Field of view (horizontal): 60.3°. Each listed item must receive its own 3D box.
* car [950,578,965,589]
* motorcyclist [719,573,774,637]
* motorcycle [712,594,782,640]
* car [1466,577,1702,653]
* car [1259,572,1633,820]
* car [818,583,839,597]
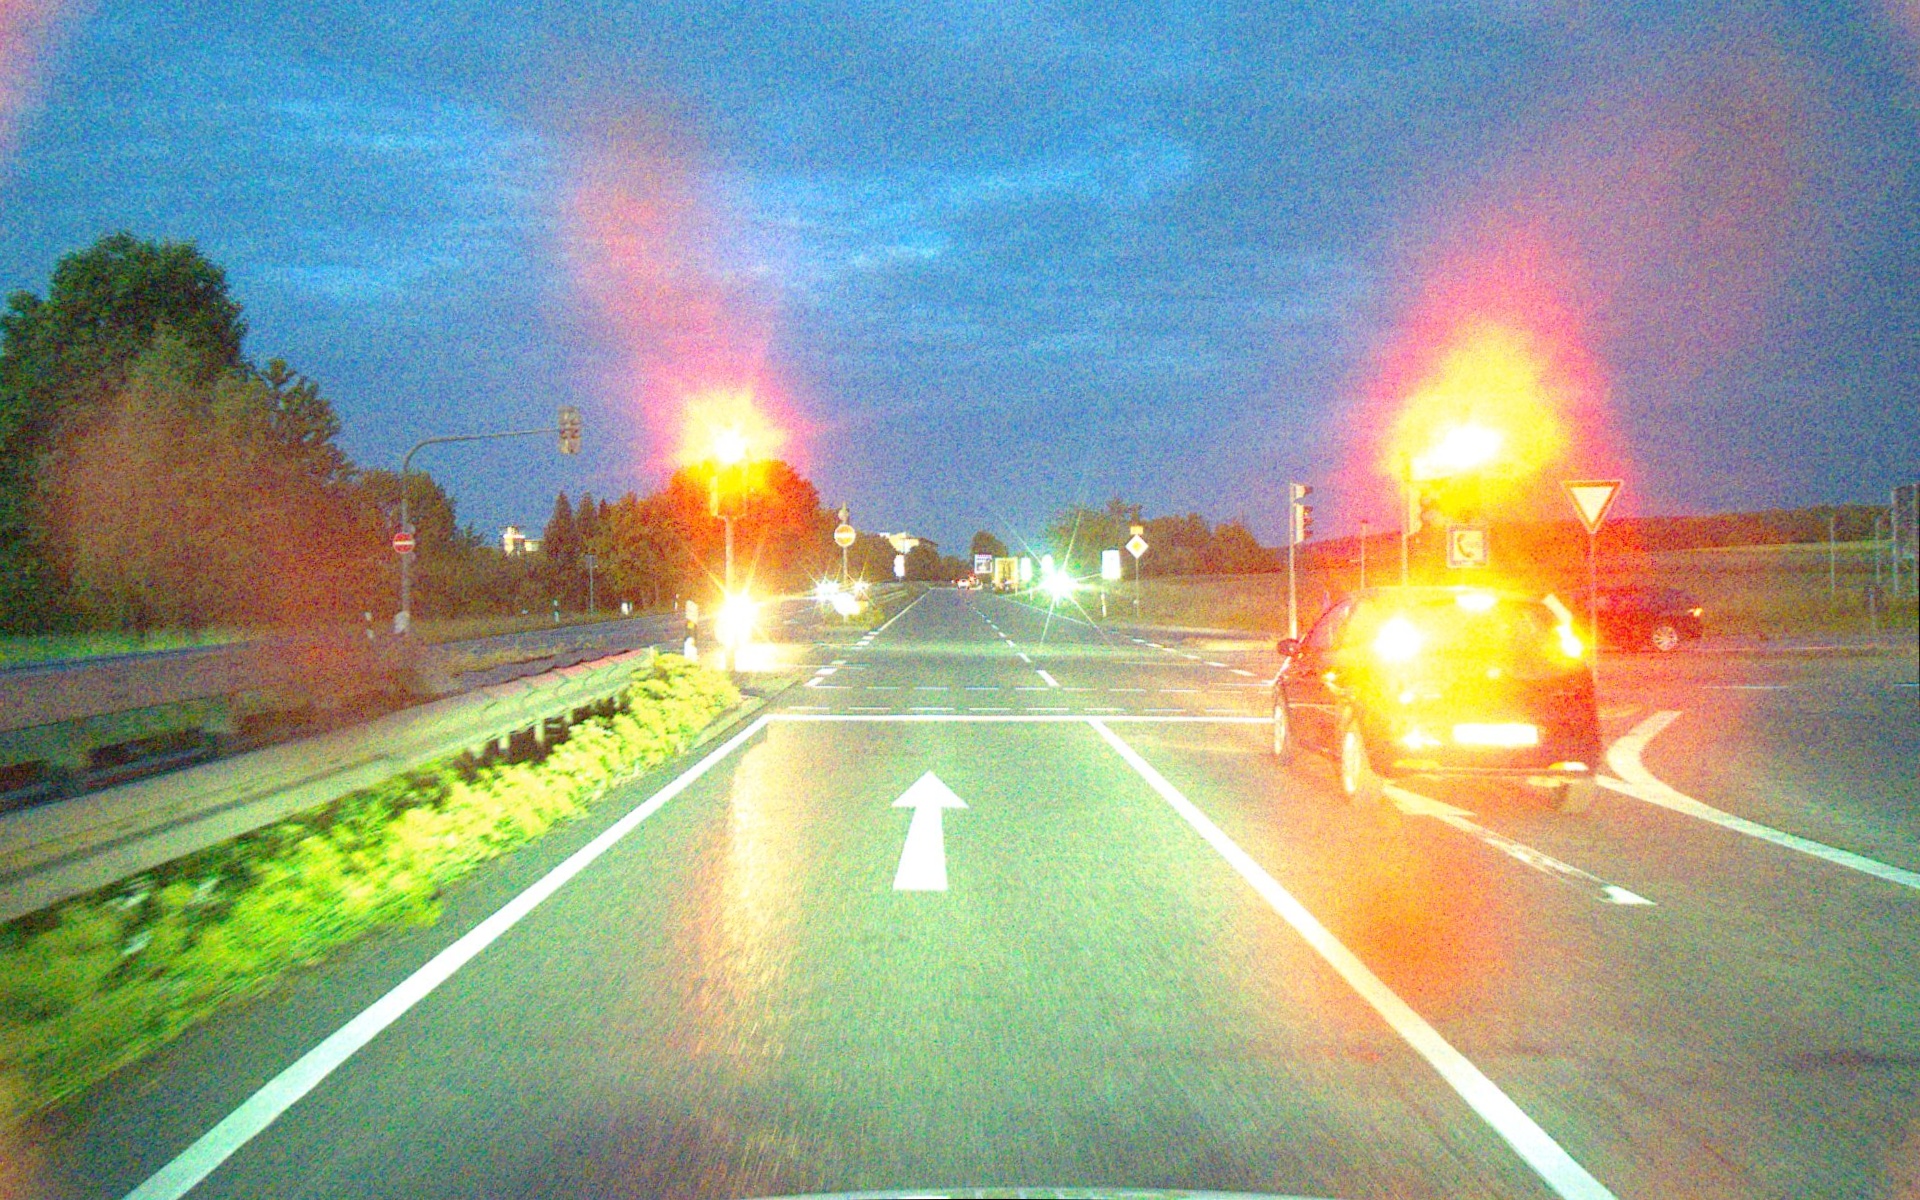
[{"bbox_3d":[-0.381,-2.592,260.541,2.228,1.660,3.999,-1,1,-2],"label":"car"},{"bbox_3d":[-5.492,0.120,42.457,1.124,1.612,0.964,-1,1,-27],"label":"motorcyclist"},{"bbox_3d":[-5.491,0.420,42.501,0.967,1.118,2.486,-1,1,-27],"label":"motorcycle"},{"bbox_3d":[13.814,0.304,36.801,4.507,1.547,2.000,-1,1,-1],"label":"car"},{"bbox_3d":[3.441,0.586,12.500,1.636,1.547,4.106,1,1,0],"label":"car"},{"bbox_3d":[-14.224,-1.088,178.906,1.953,1.545,4.297,0,1,-1],"label":"car"}]
